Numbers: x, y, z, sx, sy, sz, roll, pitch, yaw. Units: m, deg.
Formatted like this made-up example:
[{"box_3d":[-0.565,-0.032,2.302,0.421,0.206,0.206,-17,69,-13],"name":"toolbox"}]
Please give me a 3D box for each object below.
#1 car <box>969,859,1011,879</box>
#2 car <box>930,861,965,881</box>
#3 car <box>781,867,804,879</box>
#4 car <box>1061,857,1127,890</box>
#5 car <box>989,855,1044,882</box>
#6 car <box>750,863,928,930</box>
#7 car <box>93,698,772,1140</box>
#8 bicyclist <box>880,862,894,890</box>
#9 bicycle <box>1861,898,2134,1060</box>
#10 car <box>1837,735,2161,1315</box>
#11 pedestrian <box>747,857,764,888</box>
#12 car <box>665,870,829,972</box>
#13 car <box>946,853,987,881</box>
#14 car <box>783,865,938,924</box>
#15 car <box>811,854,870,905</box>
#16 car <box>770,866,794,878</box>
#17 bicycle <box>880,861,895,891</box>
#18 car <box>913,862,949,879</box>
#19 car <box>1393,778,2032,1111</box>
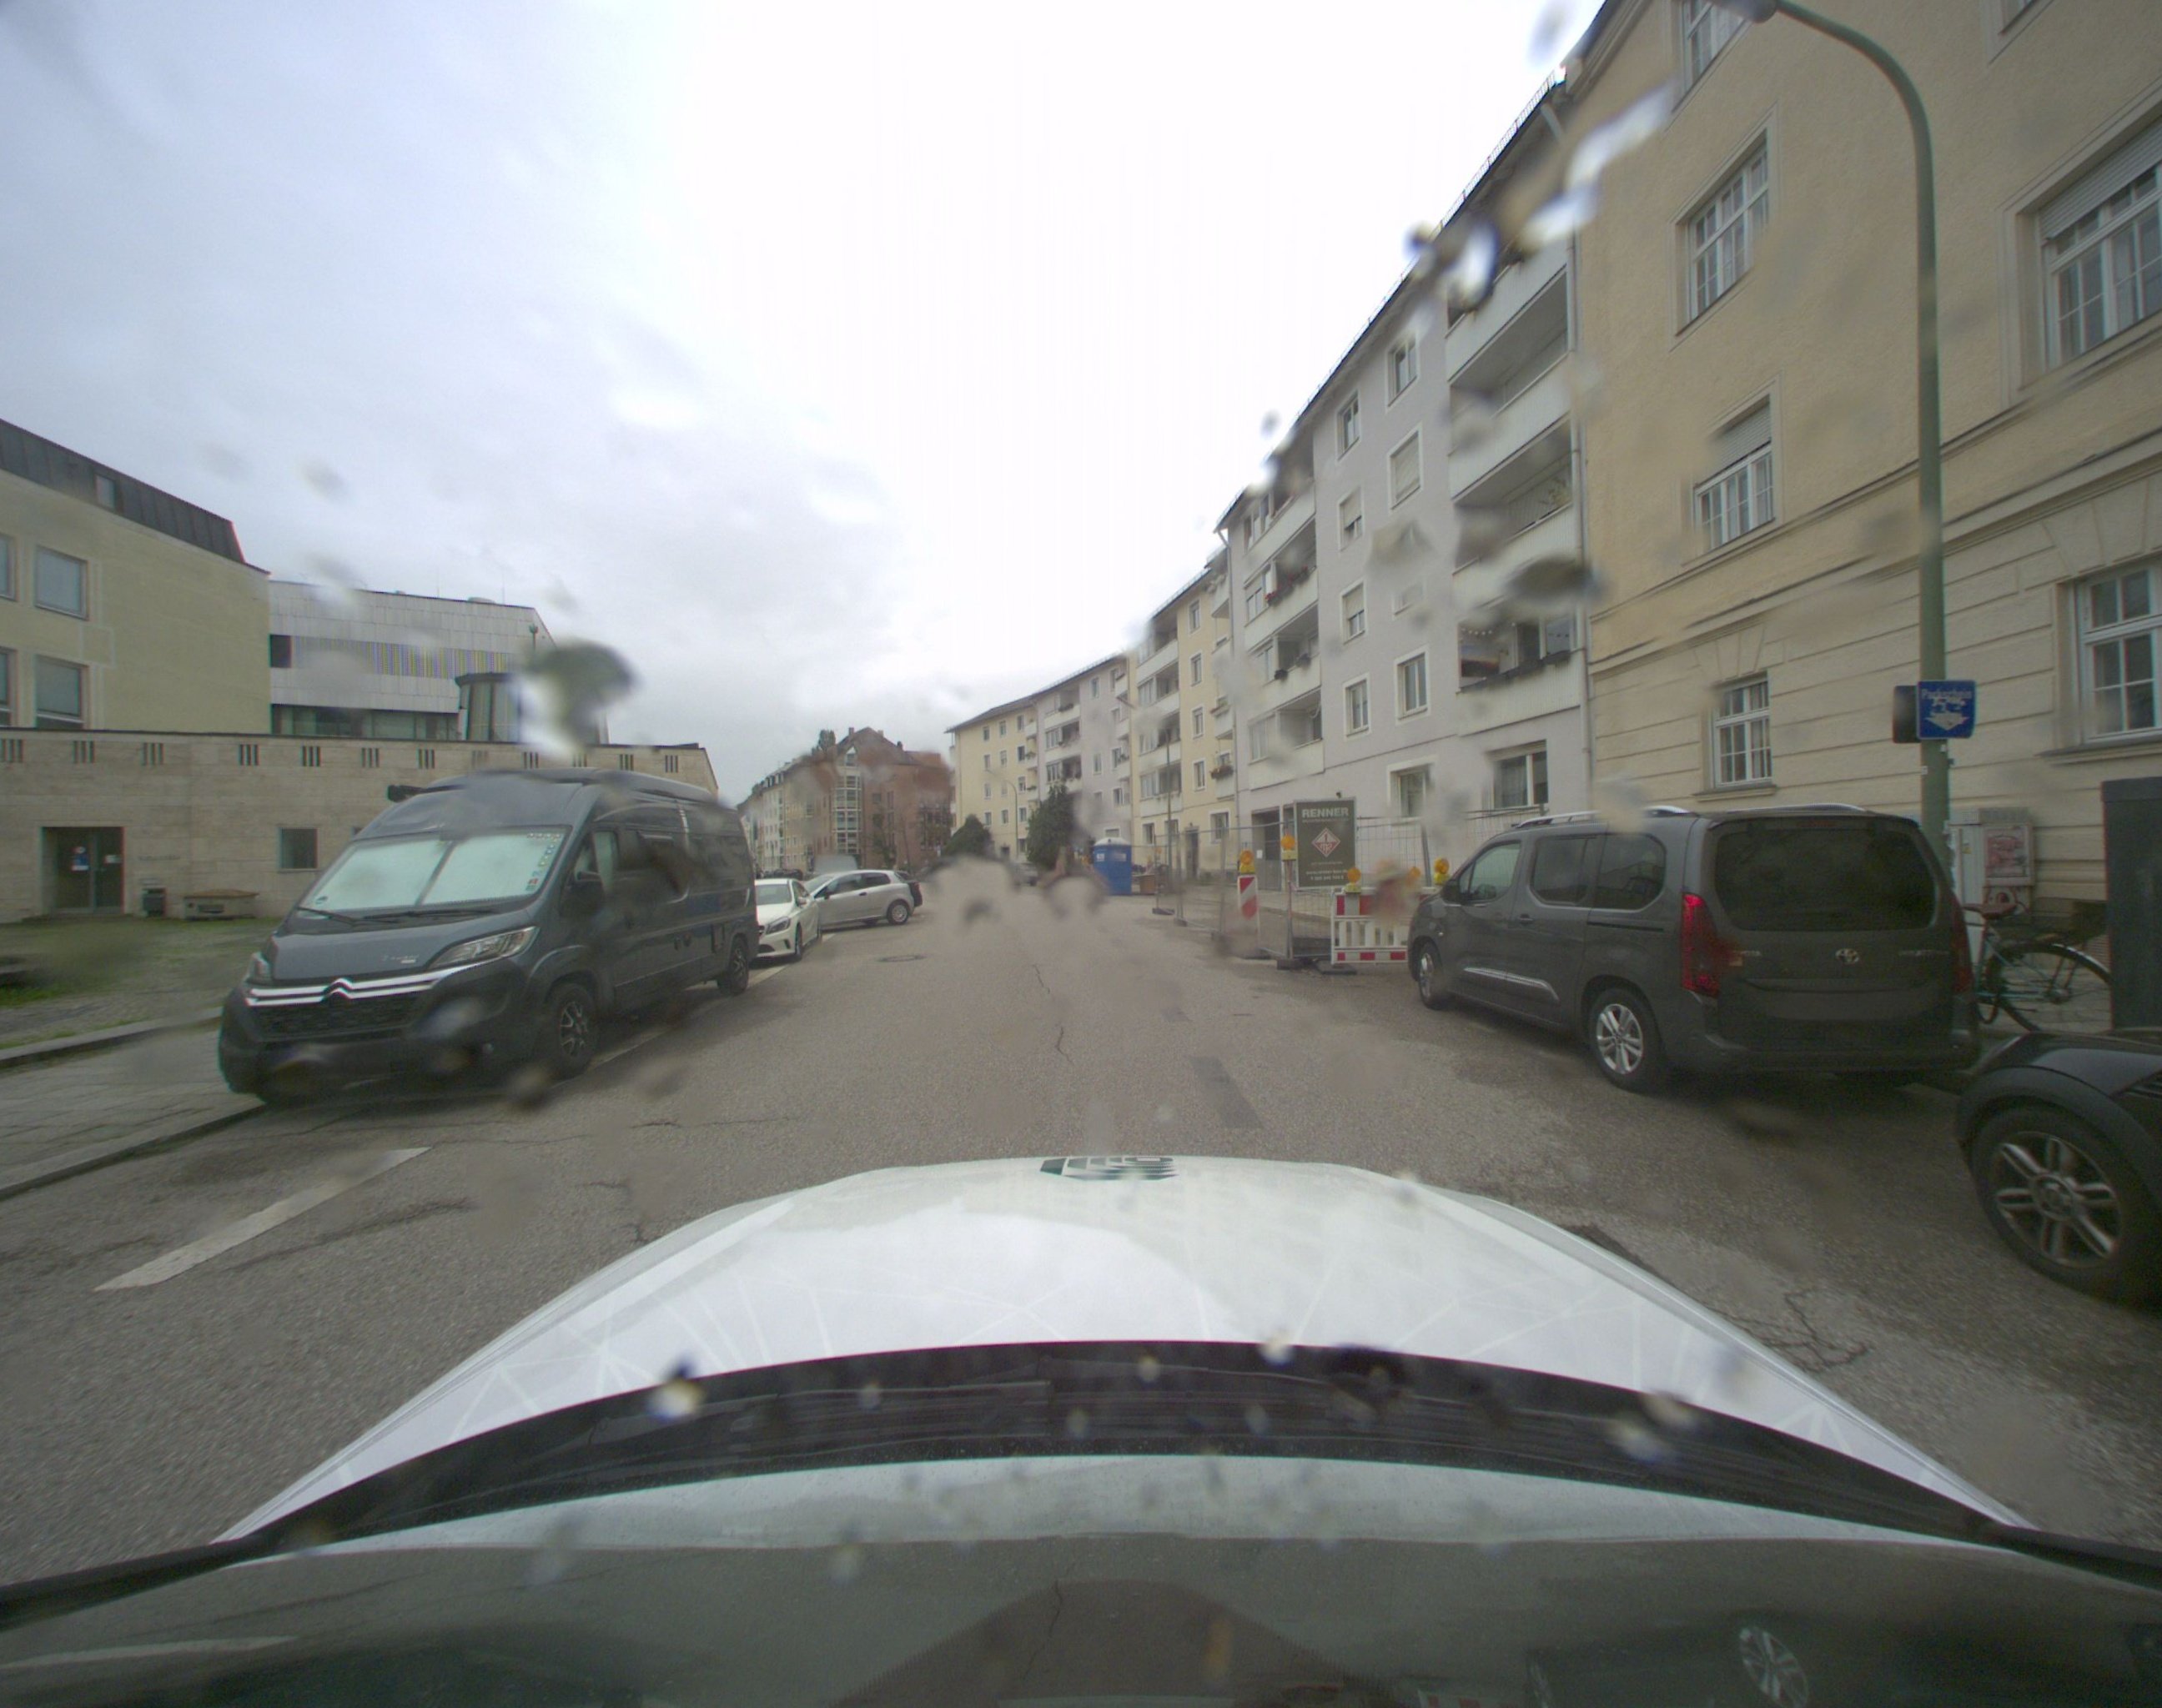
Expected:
[{"box_3d":[-6.502,1.103,58.040,1.668,1.349,3.767,1,-2,-30],"name":"car"},{"box_3d":[-11.110,1.417,67.442,1.667,1.566,4.475,1,-2,-26],"name":"car"},{"box_3d":[-39.299,2.580,110.884,1.844,1.602,4.218,1,-1,-37],"name":"car"},{"box_3d":[0.554,0.902,38.898,1.835,1.442,4.601,1,-1,-17],"name":"car"},{"box_3d":[-4.283,0.926,53.680,2.037,1.678,4.572,1,-1,-27],"name":"car"},{"box_3d":[-6.072,1.019,20.690,4.005,1.530,1.655,1,-1,-43],"name":"car"},{"box_3d":[-5.083,0.394,8.057,2.141,2.574,6.198,-3,0,-6],"name":"car"},{"box_3d":[-12.159,1.370,51.068,0.749,1.717,1.027,-2,0,-14],"name":"bicyclist"},{"box_3d":[6.199,0.794,5.601,0.331,0.930,1.289,1,-1,-7],"name":"bicycle"},{"box_3d":[4.044,0.506,1.680,1.826,1.730,3.738,0,-1,8],"name":"car"},{"box_3d":[-18.686,1.041,46.745,0.796,1.740,0.816,1,-1,-16],"name":"pedestrian"},{"box_3d":[-5.856,1.079,14.816,1.828,1.387,4.127,-5,0,-10],"name":"car"},{"box_3d":[-8.806,0.965,62.428,1.756,2.082,4.476,1,-1,-26],"name":"car"},{"box_3d":[-6.435,1.154,24.021,1.727,1.373,4.031,-4,0,45],"name":"car"},{"box_3d":[-9.333,0.925,31.336,1.999,1.772,4.784,-1,0,-18],"name":"car"},{"box_3d":[-42.156,2.536,114.900,1.979,1.602,4.619,1,-1,-37],"name":"car"},{"box_3d":[-12.211,1.364,51.259,0.796,1.722,3.100,-4,1,-14],"name":"bicycle"},{"box_3d":[-13.232,1.491,71.603,1.766,1.396,4.002,1,-3,-33],"name":"car"},{"box_3d":[4.250,0.519,6.547,1.831,1.799,4.236,0,-1,-1],"name":"car"}]
